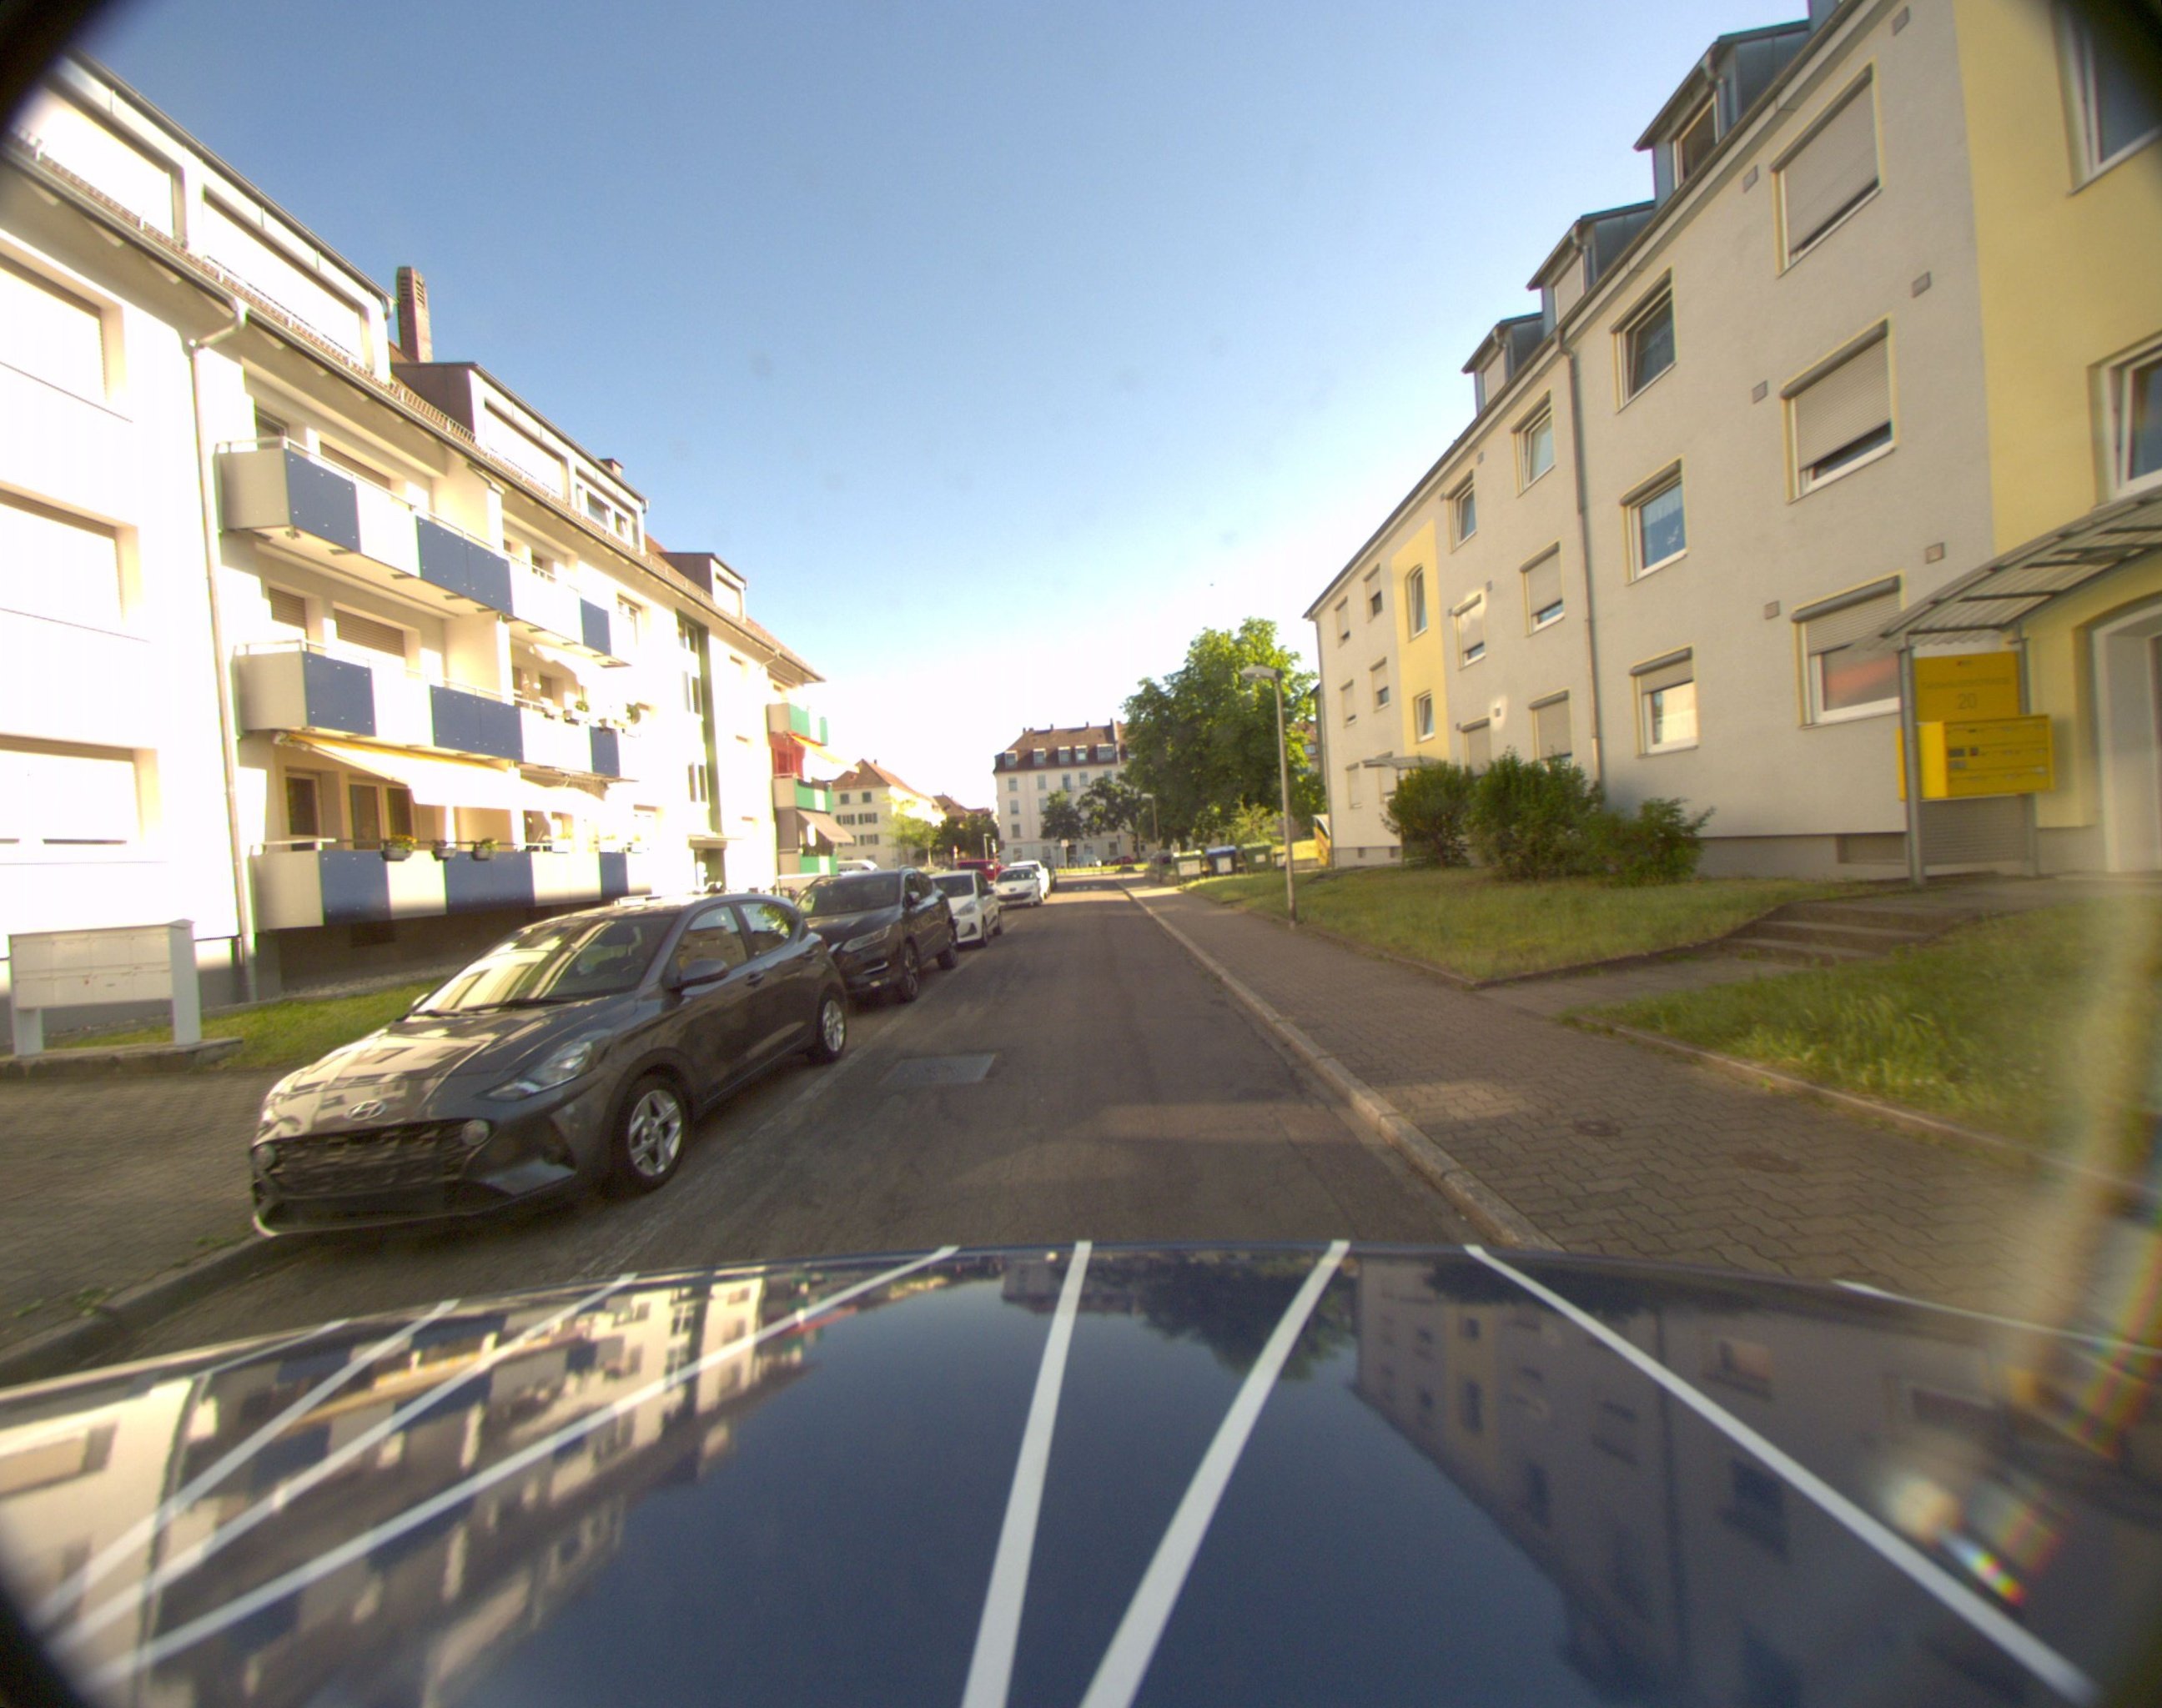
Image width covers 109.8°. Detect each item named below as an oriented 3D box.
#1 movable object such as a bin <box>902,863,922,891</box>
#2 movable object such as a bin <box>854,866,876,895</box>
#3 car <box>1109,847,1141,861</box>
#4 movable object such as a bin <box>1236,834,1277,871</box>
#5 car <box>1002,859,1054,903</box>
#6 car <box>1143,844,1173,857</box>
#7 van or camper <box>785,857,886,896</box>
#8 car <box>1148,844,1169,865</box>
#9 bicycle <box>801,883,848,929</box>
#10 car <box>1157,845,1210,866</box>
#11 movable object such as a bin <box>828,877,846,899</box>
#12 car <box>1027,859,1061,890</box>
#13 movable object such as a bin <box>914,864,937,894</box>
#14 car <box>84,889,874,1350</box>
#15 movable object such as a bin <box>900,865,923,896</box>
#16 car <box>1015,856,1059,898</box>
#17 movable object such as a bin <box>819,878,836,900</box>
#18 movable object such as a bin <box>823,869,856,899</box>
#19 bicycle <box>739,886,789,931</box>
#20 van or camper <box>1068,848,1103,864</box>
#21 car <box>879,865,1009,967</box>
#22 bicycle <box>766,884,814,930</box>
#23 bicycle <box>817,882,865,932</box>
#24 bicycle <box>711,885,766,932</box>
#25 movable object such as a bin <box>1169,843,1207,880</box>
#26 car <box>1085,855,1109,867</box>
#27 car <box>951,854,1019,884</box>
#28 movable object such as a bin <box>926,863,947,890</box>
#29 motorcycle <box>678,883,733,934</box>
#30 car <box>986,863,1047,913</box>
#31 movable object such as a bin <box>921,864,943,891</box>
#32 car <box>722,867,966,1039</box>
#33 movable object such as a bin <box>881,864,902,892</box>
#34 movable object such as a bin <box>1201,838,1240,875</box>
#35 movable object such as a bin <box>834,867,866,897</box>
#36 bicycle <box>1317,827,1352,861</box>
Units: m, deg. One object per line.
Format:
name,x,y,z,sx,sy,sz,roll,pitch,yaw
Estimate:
movable object such as a bin,-9.257,1.256,41.655,0.866,1.439,0.922,-4,1,-3
movable object such as a bin,-11.850,1.467,41.666,0.866,1.511,0.922,-4,1,-1
car,5.705,0.012,99.184,3.996,1.477,1.722,-4,1,3
movable object such as a bin,7.820,-0.059,33.928,1.363,1.445,1.073,-9,1,1
car,-2.213,1.100,32.900,1.805,1.583,4.581,-6,0,0
car,9.988,-0.432,99.087,3.787,1.437,1.625,-4,0,3
van or camper,-18.889,1.734,58.714,6.980,2.486,2.177,-4,1,3
car,6.833,0.031,66.981,1.678,1.645,3.305,-4,0,5
bicycle,-6.998,1.395,20.810,0.579,1.126,1.873,-3,0,0
car,8.558,0.095,63.797,4.140,1.488,1.729,-4,1,1
movable object such as a bin,-12.192,1.693,37.963,0.718,1.047,0.580,-1,1,-1
car,-2.167,1.166,45.459,1.728,1.528,3.951,-7,0,-1
movable object such as a bin,-7.947,1.277,38.966,0.921,1.439,0.866,-4,1,-1
car,-2.928,1.152,5.000,1.650,1.441,4.061,-6,0,4
movable object such as a bin,-8.361,1.320,37.562,0.866,1.439,0.922,-4,1,-3
car,-2.252,1.144,39.838,1.855,1.790,4.253,-8,0,0
movable object such as a bin,-12.424,1.711,37.253,0.628,1.047,0.580,-1,1,-1
movable object such as a bin,-12.402,1.522,39.109,1.239,1.439,1.278,-4,1,-2
bicycle,-8.669,1.464,20.841,0.539,1.076,1.873,-1,0,0
van or camper,0.544,0.263,99.481,4.355,1.852,2.000,-4,1,-1
car,-2.586,1.120,15.250,1.717,1.501,3.853,-7,0,0
bicycle,-7.952,1.424,20.858,0.545,1.114,1.873,-3,0,0
bicycle,-6.298,1.376,20.053,0.546,1.163,1.873,-3,1,2
bicycle,-9.396,1.479,20.911,0.598,1.109,1.873,-4,0,0
movable object such as a bin,4.758,0.345,33.884,1.318,1.451,1.198,-8,1,1
car,2.217,0.961,104.640,3.192,1.499,1.545,-3,0,1
car,-7.744,1.172,61.390,4.992,2.002,2.000,-4,0,4
movable object such as a bin,-7.870,1.194,41.435,0.921,1.390,0.866,-4,1,-1
motorcycle,-10.394,1.484,21.104,0.442,1.231,1.977,-3,0,1
car,-2.229,1.147,27.317,1.695,1.410,4.097,-7,0,0
movable object such as a bin,-7.892,1.227,40.209,0.921,1.318,0.866,-4,1,-1
car,-2.751,1.049,9.947,1.728,1.569,4.352,-4,0,0
movable object such as a bin,-10.370,1.286,41.520,0.866,1.439,0.922,-4,1,-3
movable object such as a bin,6.233,0.106,33.929,1.358,1.451,1.082,-9,1,1
movable object such as a bin,-12.306,1.476,40.517,1.239,1.439,1.278,-4,1,-1
bicycle,10.110,-0.390,30.352,0.641,1.243,2.009,-5,0,1
